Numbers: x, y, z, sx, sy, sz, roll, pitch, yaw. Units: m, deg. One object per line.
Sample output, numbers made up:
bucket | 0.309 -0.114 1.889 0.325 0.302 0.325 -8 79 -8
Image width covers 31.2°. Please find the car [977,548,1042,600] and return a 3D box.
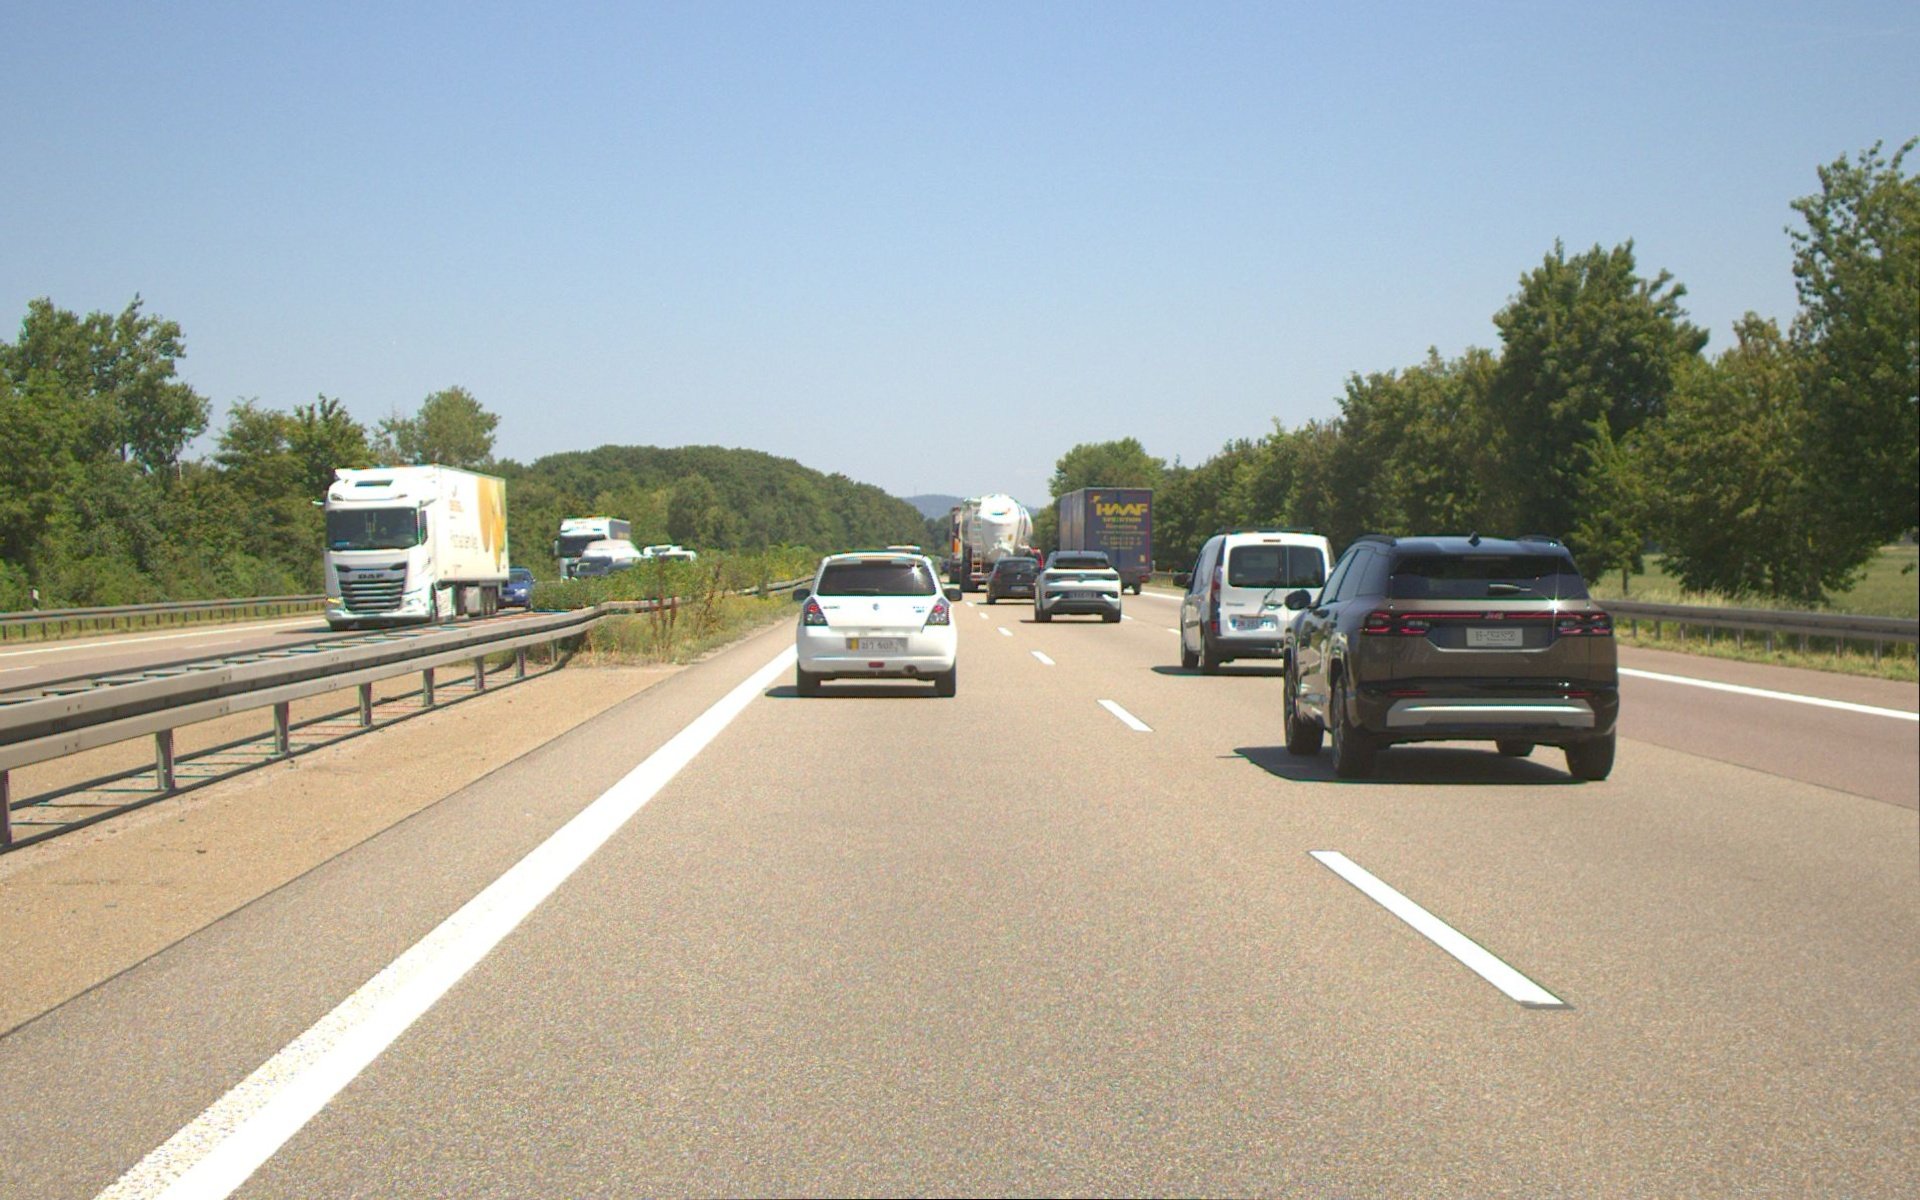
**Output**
car | 1.483 -0.811 104.673 1.850 1.518 3.957 1 1 -1

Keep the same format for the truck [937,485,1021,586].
truck | 0.749 -2.697 143.927 2.911 4.065 7.196 1 1 -4

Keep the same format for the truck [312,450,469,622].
truck | -14.219 -1.599 86.298 2.740 4.071 6.217 -2 1 0

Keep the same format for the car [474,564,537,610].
car | -14.990 -0.440 113.601 1.572 1.382 3.968 -3 1 -1

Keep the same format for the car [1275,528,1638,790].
car | 3.447 0.354 24.736 1.867 1.669 4.746 1 1 0

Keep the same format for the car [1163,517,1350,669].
car | 3.824 -0.116 45.012 1.853 1.856 4.703 1 1 -2

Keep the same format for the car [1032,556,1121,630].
car | 2.637 -0.183 78.626 1.802 1.597 4.381 1 1 -1

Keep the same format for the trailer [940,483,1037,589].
trailer | 1.066 -2.577 139.482 2.911 4.055 12.420 1 1 -4

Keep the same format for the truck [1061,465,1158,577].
truck | 5.774 -3.027 135.595 3.109 4.124 15.511 1 1 0

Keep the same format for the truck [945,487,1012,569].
truck | 0.961 -3.812 185.152 3.394 4.199 12.083 1 1 0

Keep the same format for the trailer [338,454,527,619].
trailer | -14.170 -1.708 93.665 2.740 4.071 14.347 -2 1 0

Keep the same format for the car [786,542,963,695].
car | -0.926 0.169 37.239 1.799 1.546 3.610 1 1 -1
